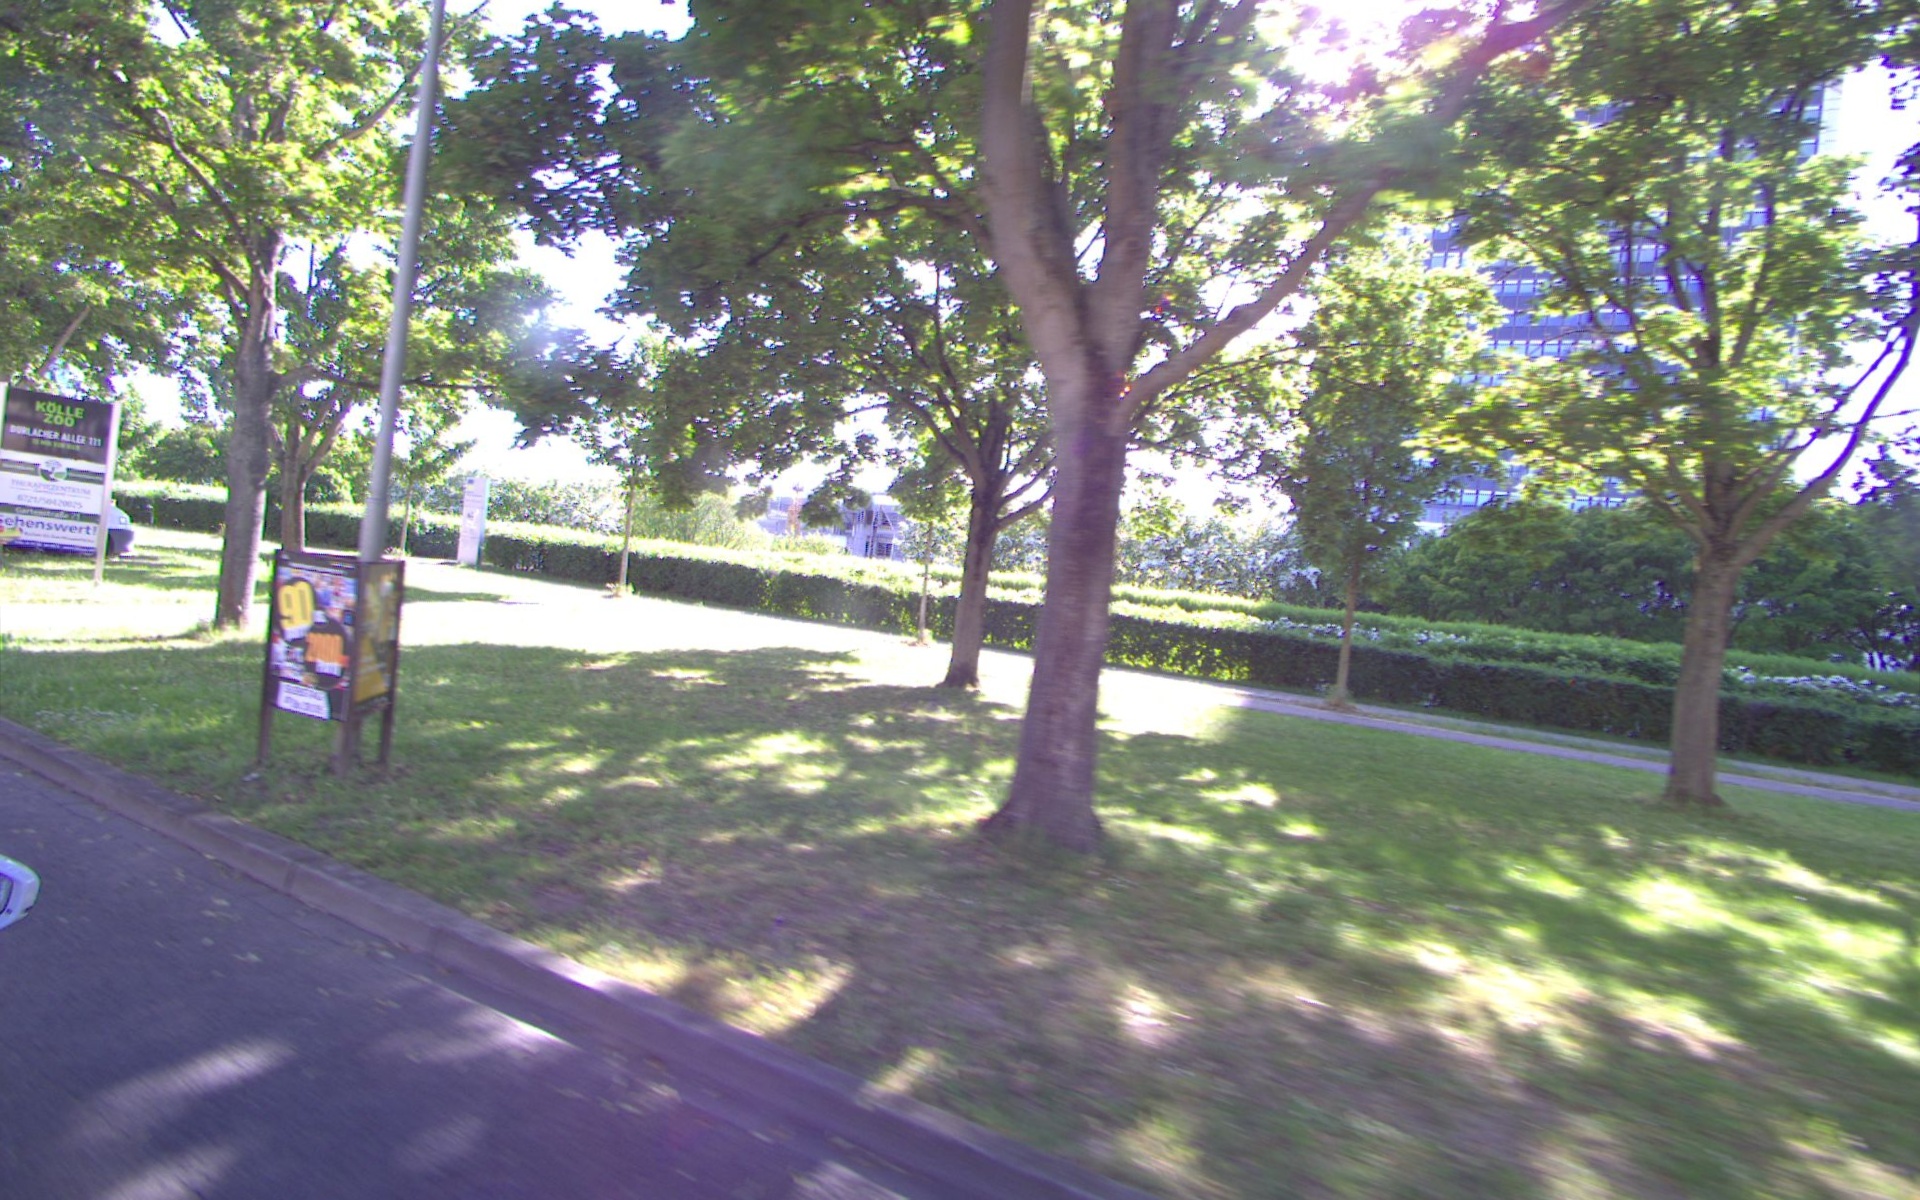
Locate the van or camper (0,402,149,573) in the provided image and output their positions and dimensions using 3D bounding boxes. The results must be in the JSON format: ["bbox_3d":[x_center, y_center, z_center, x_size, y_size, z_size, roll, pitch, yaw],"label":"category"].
[{"bbox_3d":[-18.930,-2.241,18.245,2.536,2.967,6.072,7,2,37],"label":"van or camper"}]
